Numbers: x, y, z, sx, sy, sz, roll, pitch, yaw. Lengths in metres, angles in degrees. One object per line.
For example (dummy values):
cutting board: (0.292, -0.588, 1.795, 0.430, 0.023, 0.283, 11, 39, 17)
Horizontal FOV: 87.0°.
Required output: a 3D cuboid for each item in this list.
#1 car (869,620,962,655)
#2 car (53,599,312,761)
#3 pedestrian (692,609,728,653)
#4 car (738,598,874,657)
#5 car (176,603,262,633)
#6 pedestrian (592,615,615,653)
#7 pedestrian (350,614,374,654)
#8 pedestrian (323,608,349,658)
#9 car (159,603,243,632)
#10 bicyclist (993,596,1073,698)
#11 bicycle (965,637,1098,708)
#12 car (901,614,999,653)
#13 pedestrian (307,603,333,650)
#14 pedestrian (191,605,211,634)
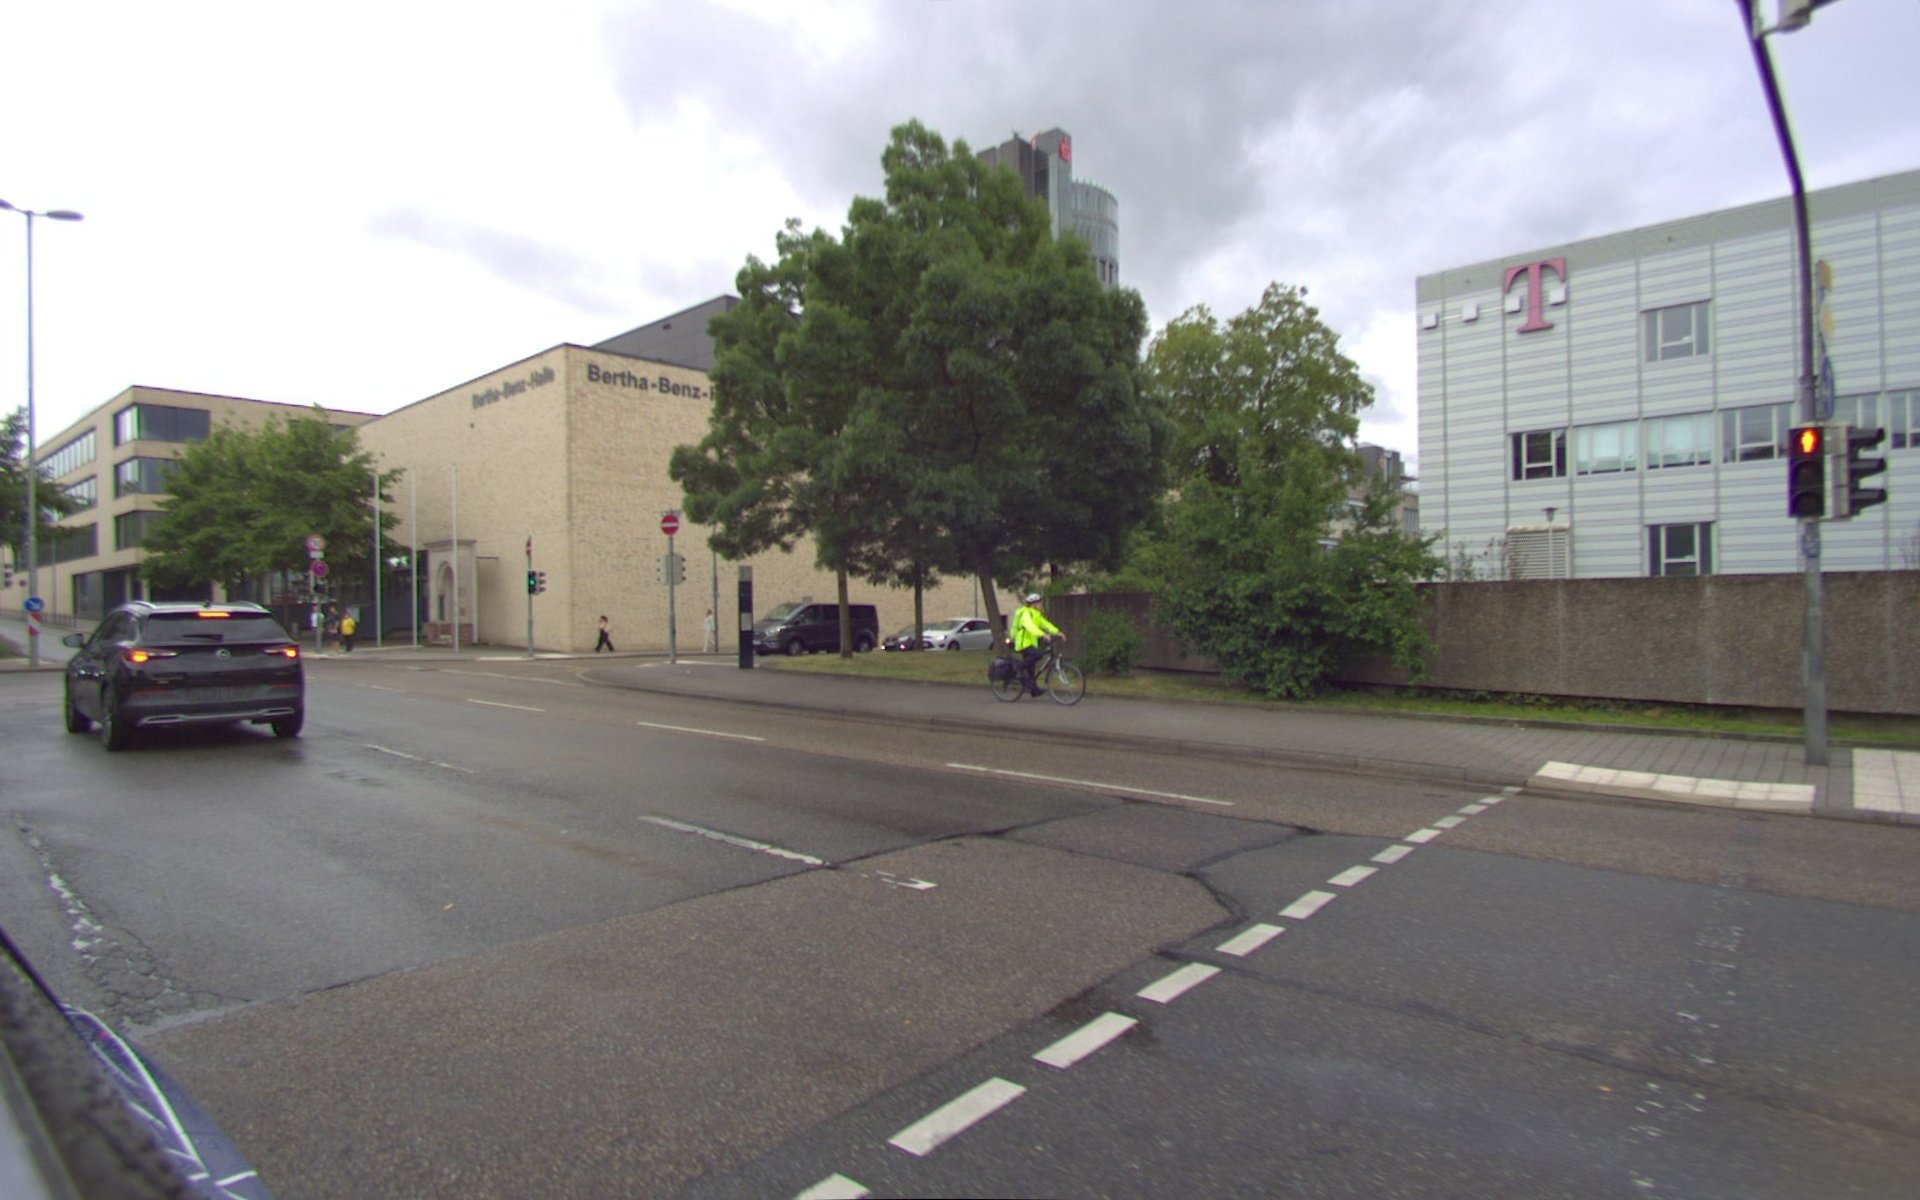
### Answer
car: (-1.959, 1.709, 45.621, 1.999, 1.469, 3.945, -1, -4, 41)
car: (-9.553, 0.829, 12.299, 4.295, 1.606, 1.788, -1, 0, 43)
pedestrian: (-10.114, 1.256, 40.941, 0.807, 1.713, 1.099, -1, 1, 39)
car: (-5.496, 1.026, 36.573, 1.998, 1.940, 4.730, -1, -4, 39)
car: (-45.352, 1.079, 61.962, 3.941, 1.597, 2.001, -3, 2, -45)
pedestrian: (-13.407, 1.270, 38.073, 0.475, 1.386, 0.614, -1, 1, 42)
pedestrian: (-23.055, 1.299, 39.016, 0.692, 1.528, 0.588, -1, 1, 40)
pedestrian: (-22.827, 1.208, 37.034, 0.692, 1.784, 0.588, -1, 1, 40)
car: (-47.466, 1.059, 63.314, 3.941, 1.597, 2.001, -3, 2, -45)
bicyclist: (1.100, 0.686, 15.231, 0.813, 1.453, 0.833, -1, 1, 43)
bicycle: (1.064, 1.058, 15.289, 1.867, 0.914, 0.875, -1, 2, 44)
car: (-0.360, 1.421, 42.387, 1.999, 1.469, 3.945, -1, -4, 41)
pedestrian: (-24.699, 1.017, 39.072, 0.691, 1.744, 0.588, -1, 1, 37)
pedestrian: (-43.967, 1.116, 58.645, 0.792, 1.659, 0.977, -3, 1, -42)
